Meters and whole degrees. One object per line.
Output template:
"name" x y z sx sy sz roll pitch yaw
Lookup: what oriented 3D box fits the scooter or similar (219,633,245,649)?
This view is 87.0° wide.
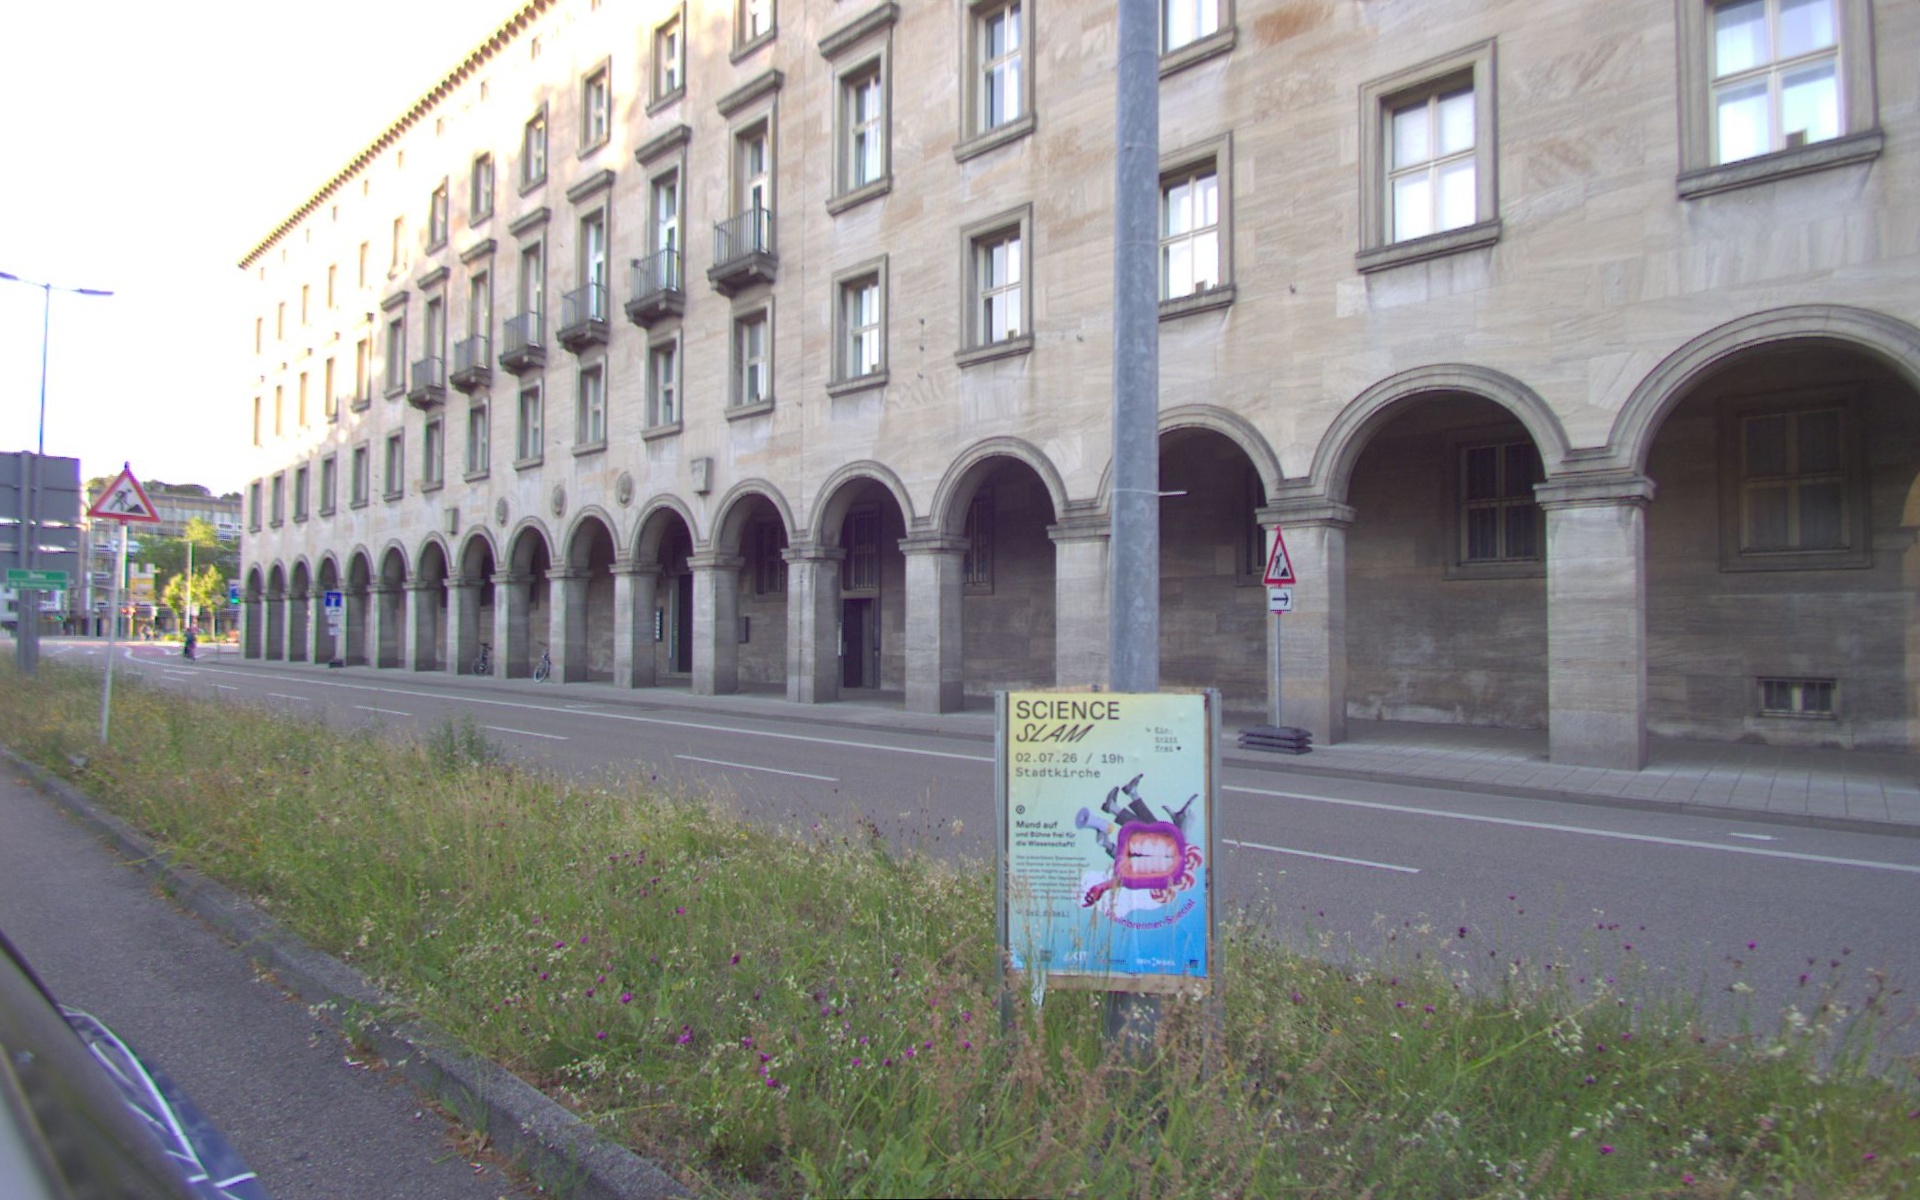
"scooter or similar" -63.350 3.557 88.053 0.422 1.315 1.819 -1 -2 35

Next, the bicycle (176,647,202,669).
"bicycle" -35.860 2.688 47.072 2.004 1.013 0.536 -3 -3 41

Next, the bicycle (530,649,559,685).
"bicycle" -12.169 1.947 29.681 0.471 1.013 2.010 1 -2 -13

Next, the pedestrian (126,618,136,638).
"pedestrian" -83.647 2.846 102.159 0.647 1.948 0.652 -3 -4 43

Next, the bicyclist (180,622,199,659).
"bicyclist" -35.847 1.869 47.095 0.748 1.706 0.531 -1 -3 41

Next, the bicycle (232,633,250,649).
"bicycle" -61.740 3.487 86.858 2.507 1.334 0.611 -1 -3 40

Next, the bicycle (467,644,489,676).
"bicycle" -15.805 1.958 33.178 0.470 1.013 2.011 1 -2 -30
